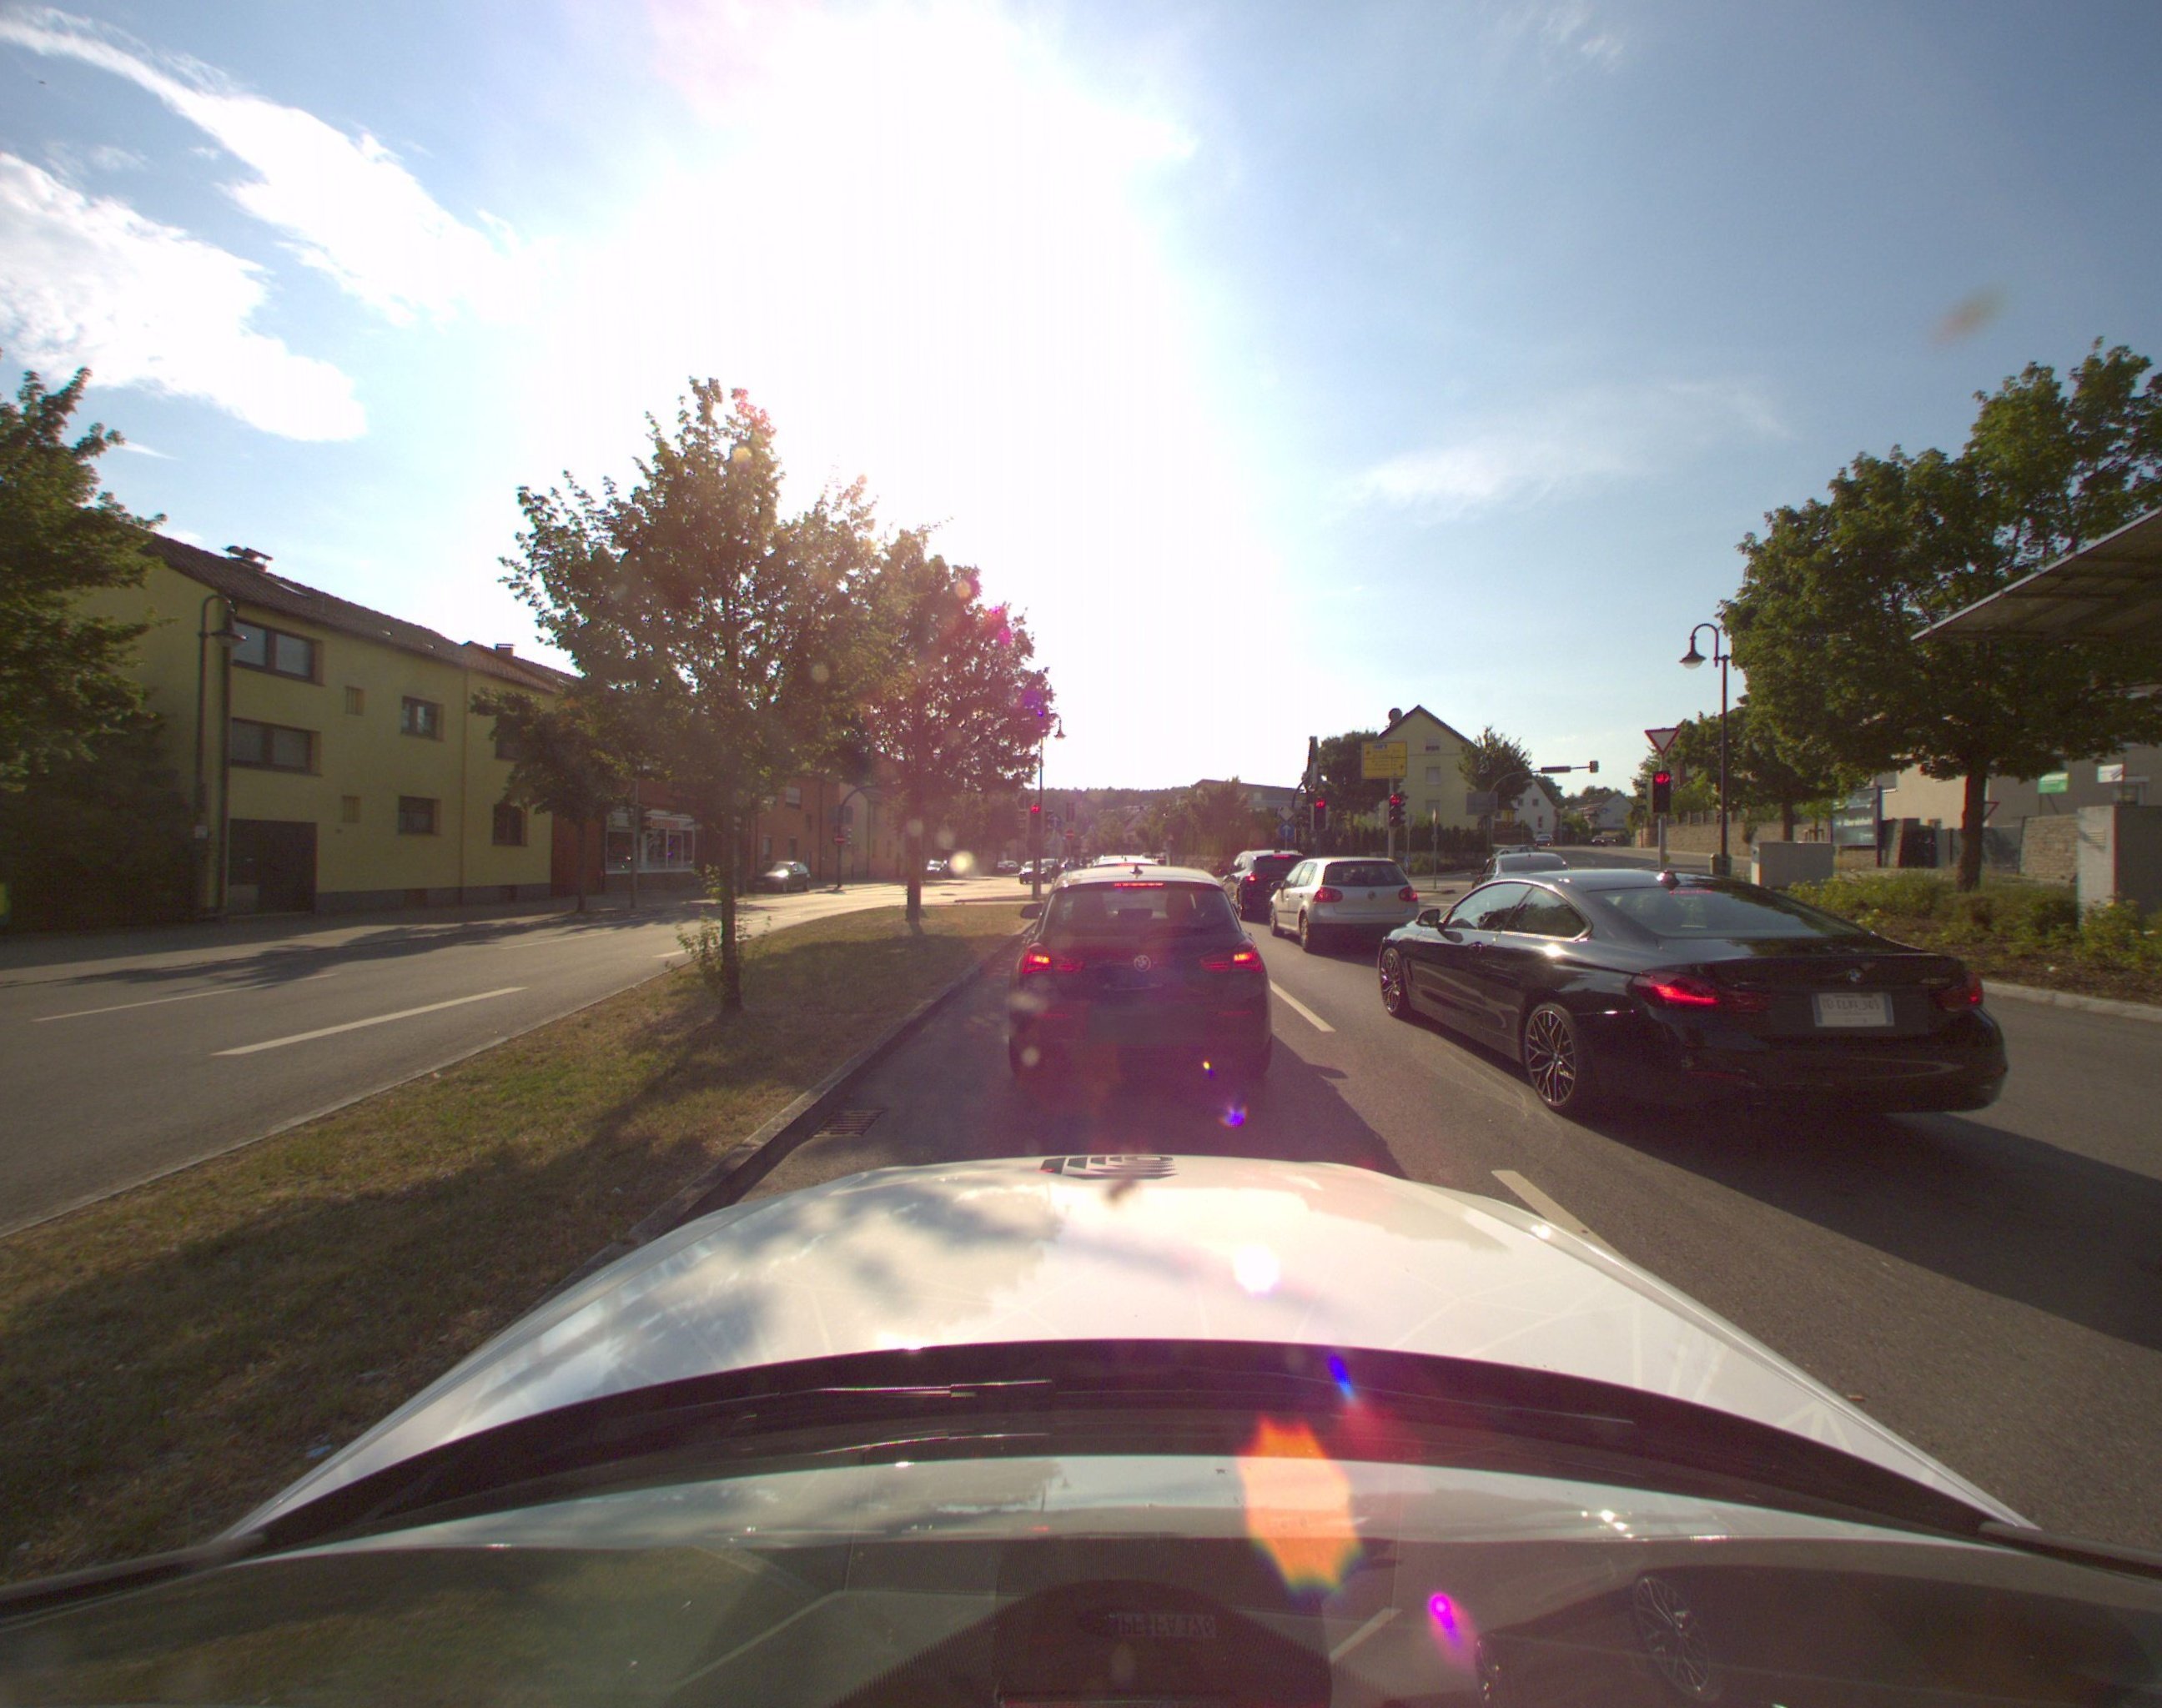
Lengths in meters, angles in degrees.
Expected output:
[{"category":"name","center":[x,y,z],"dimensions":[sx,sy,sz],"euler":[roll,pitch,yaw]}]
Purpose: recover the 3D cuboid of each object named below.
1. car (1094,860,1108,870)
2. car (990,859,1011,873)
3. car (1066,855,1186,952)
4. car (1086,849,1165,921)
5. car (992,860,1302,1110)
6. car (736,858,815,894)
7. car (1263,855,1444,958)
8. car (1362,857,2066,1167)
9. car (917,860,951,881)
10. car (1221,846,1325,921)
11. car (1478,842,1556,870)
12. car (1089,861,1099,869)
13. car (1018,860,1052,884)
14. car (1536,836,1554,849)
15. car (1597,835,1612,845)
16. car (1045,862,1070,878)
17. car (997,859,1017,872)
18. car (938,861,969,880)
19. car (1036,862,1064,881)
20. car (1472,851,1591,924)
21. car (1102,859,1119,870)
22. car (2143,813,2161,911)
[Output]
[{"category":"car","center":[3.361,1.804,135.808],"dimensions":[1.887,1.702,4.518],"euler":[-2,0,-4]},{"category":"car","center":[-9.614,1.383,97.720],"dimensions":[1.916,1.596,4.004],"euler":[0,0,4]},{"category":"car","center":[0.804,0.750,14.456],"dimensions":[1.808,1.451,4.245],"euler":[-1,0,3]},{"category":"car","center":[1.164,0.726,21.083],"dimensions":[1.808,1.641,4.245],"euler":[-1,0,3]},{"category":"car","center":[0.507,0.780,6.912],"dimensions":[1.783,1.414,4.351],"euler":[-1,0,3]},{"category":"car","center":[-14.172,0.979,38.048],"dimensions":[1.834,1.552,4.005],"euler":[2,0,5]},{"category":"car","center":[4.323,0.746,13.657],"dimensions":[1.808,1.446,4.351],"euler":[-1,0,3]},{"category":"car","center":[3.632,0.733,5.889],"dimensions":[1.809,1.388,4.348],"euler":[-1,0,2]},{"category":"car","center":[-12.160,1.338,67.629],"dimensions":[1.916,1.596,4.004],"euler":[0,0,4]},{"category":"car","center":[4.642,0.661,20.308],"dimensions":[1.808,1.666,4.351],"euler":[-1,0,3]},{"category":"car","center":[25.435,0.120,47.501],"dimensions":[4.070,1.507,1.780],"euler":[-1,0,-20]},{"category":"car","center":[2.767,2.304,170.327],"dimensions":[1.917,1.596,4.002],"euler":[0,0,2]},{"category":"car","center":[-2.958,1.166,53.337],"dimensions":[1.759,1.458,4.004],"euler":[0,0,4]},{"category":"car","center":[52.432,-1.323,92.011],"dimensions":[1.694,1.244,4.027],"euler":[0,3,32]},{"category":"car","center":[84.404,-2.256,131.238],"dimensions":[1.759,1.580,4.025],"euler":[-1,0,37]},{"category":"car","center":[-1.977,1.338,69.436],"dimensions":[1.685,1.353,4.004],"euler":[0,0,4]},{"category":"car","center":[-9.306,1.392,103.222],"dimensions":[1.916,1.596,4.004],"euler":[0,0,4]},{"category":"car","center":[-11.402,1.482,73.245],"dimensions":[1.916,1.596,4.004],"euler":[0,0,4]},{"category":"car","center":[-2.312,1.325,62.138],"dimensions":[1.685,1.353,4.004],"euler":[0,0,4]},{"category":"car","center":[9.940,0.655,18.293],"dimensions":[1.667,1.435,4.613],"euler":[-1,0,21]},{"category":"car","center":[4.130,1.514,114.237],"dimensions":[1.858,1.485,4.652],"euler":[0,0,-4]},{"category":"car","center":[19.496,0.113,12.275],"dimensions":[3.958,1.608,1.861],"euler":[0,0,14]}]
